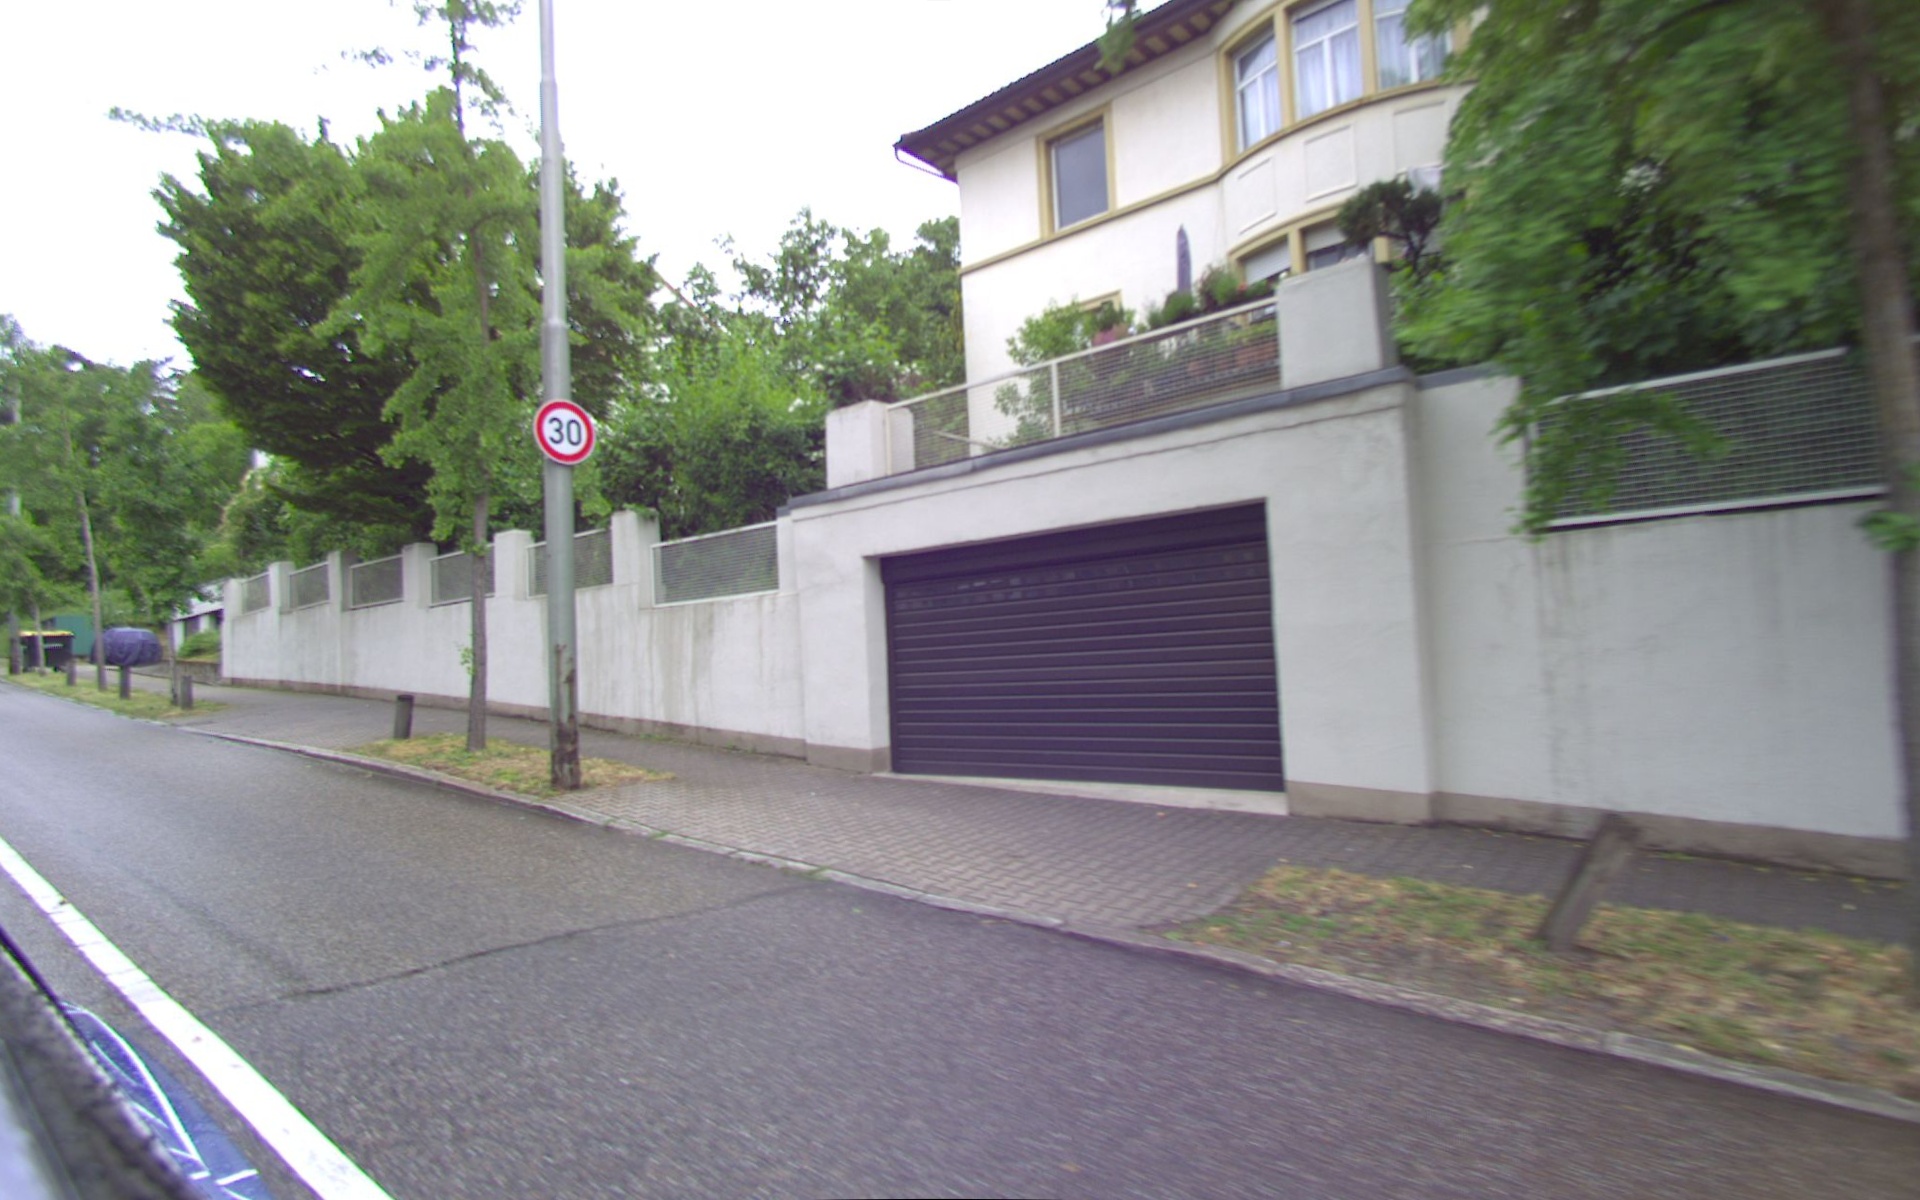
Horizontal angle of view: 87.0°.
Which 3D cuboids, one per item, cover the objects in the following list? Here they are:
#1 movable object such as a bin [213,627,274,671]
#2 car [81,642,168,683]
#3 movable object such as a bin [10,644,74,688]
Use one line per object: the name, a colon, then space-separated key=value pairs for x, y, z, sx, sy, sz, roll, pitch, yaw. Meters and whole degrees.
movable object such as a bin: x=-22.902 y=1.569 z=32.342 sx=1.158 sy=1.325 sz=1.252 roll=-5 pitch=-5 yaw=32
car: x=-33.369 y=2.489 z=40.412 sx=3.861 sy=1.503 sz=1.833 roll=-2 pitch=-7 yaw=39
movable object such as a bin: x=-29.258 y=2.085 z=32.266 sx=1.119 sy=1.361 sz=1.213 roll=-1 pitch=-3 yaw=32
